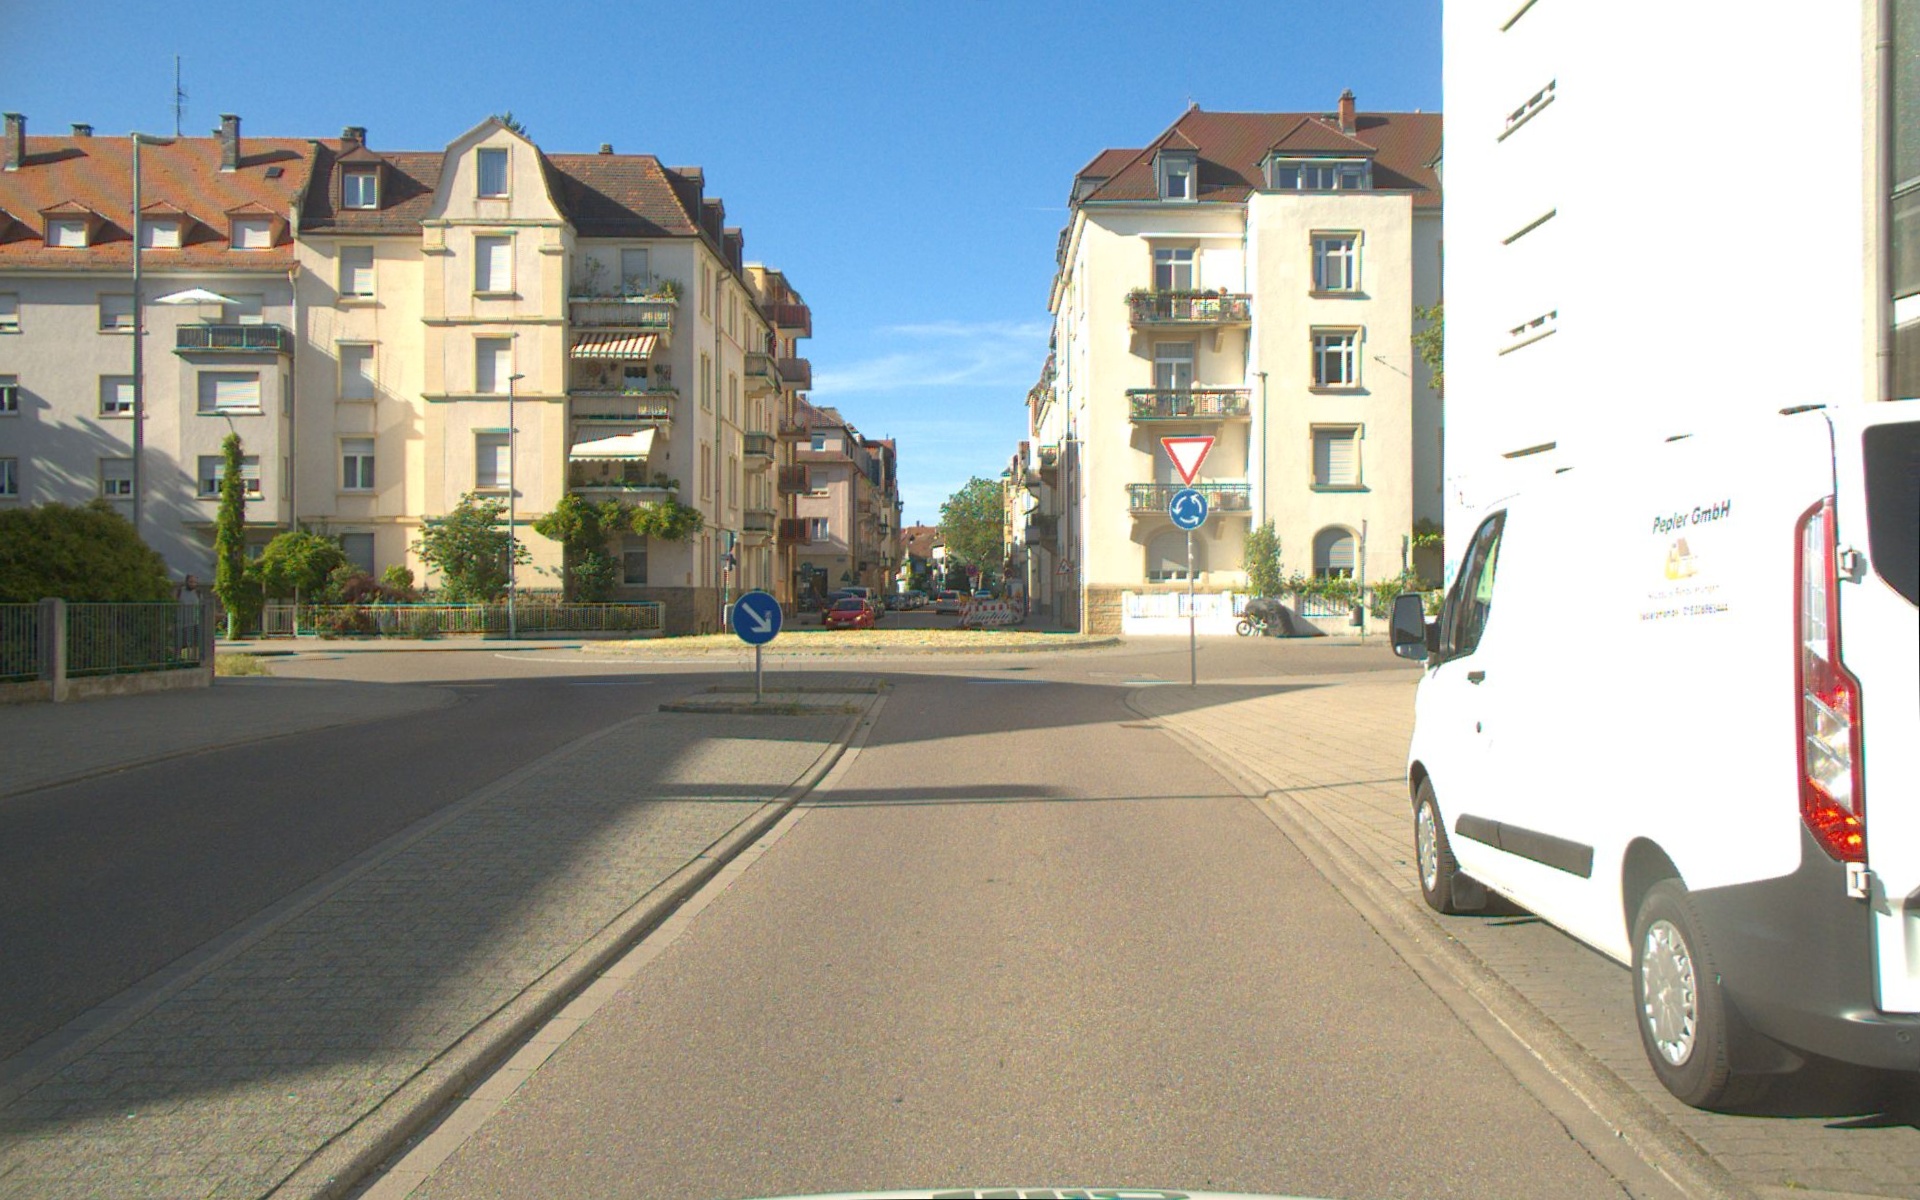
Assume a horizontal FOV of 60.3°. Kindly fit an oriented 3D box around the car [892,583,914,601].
[{"bbox_3d":[-5.400,-0.764,156.415,1.953,1.657,3.999,0,0,-1],"label":"car"}]

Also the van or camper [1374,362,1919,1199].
[{"bbox_3d":[3.084,0.396,6.196,1.978,1.981,4.704,-2,0,2],"label":"van or camper"}]

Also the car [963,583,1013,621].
[{"bbox_3d":[1.389,0.077,82.075,2.381,1.843,4.724,0,0,1],"label":"car"}]

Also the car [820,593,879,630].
[{"bbox_3d":[-4.596,0.504,69.129,1.703,1.378,3.672,-1,-2,8],"label":"car"}]

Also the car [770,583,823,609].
[{"bbox_3d":[-12.750,-0.295,129.327,3.817,2.049,1.765,0,0,7],"label":"car"}]

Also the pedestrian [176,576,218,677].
[{"bbox_3d":[-12.984,0.448,28.148,0.563,1.705,0.401,0,0,-43],"label":"pedestrian"}]

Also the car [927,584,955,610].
[{"bbox_3d":[-1.379,-0.222,118.949,1.953,1.769,3.999,0,0,-1],"label":"car"}]

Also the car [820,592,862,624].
[{"bbox_3d":[-5.934,0.383,82.872,1.953,1.559,3.999,0,0,-2],"label":"car"}]

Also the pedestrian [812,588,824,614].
[{"bbox_3d":[-10.051,0.066,116.996,0.783,1.781,0.845,0,0,2],"label":"pedestrian"}]

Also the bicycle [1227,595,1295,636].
[{"bbox_3d":[9.996,0.515,54.974,2.121,1.291,0.763,-1,-3,17],"label":"bicycle"}]
